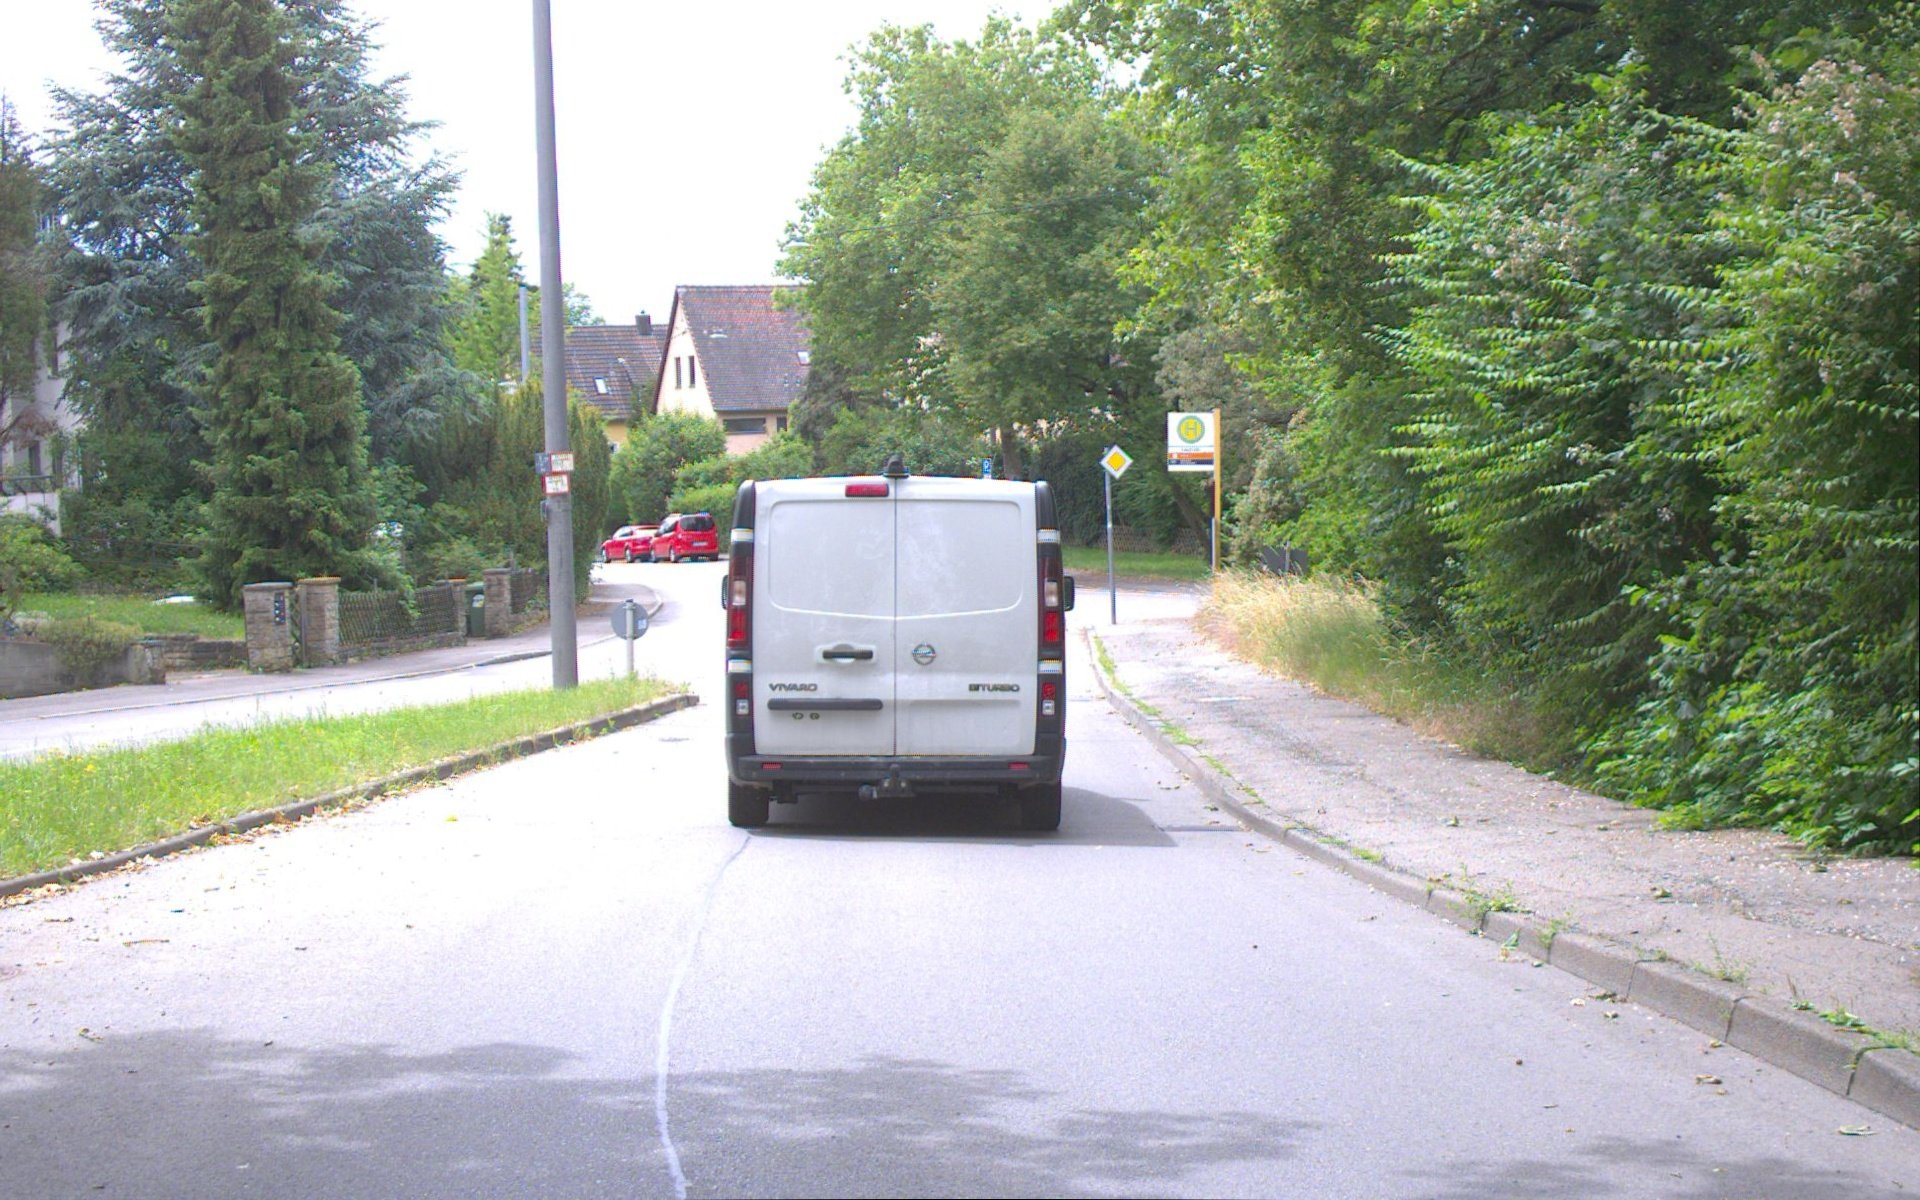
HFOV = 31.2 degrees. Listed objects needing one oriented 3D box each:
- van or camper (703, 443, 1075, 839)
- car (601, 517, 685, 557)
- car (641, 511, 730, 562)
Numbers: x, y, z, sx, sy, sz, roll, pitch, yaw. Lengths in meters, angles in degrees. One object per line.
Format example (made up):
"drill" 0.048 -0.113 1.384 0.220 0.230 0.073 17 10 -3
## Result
"van or camper" -0.367 0.108 20.432 1.924 2.006 4.830 -1 3 0
"car" -12.144 -2.407 131.453 1.712 1.462 4.269 -3 2 -27
"car" -10.103 -2.337 126.302 1.760 1.791 4.950 -2 2 -23
